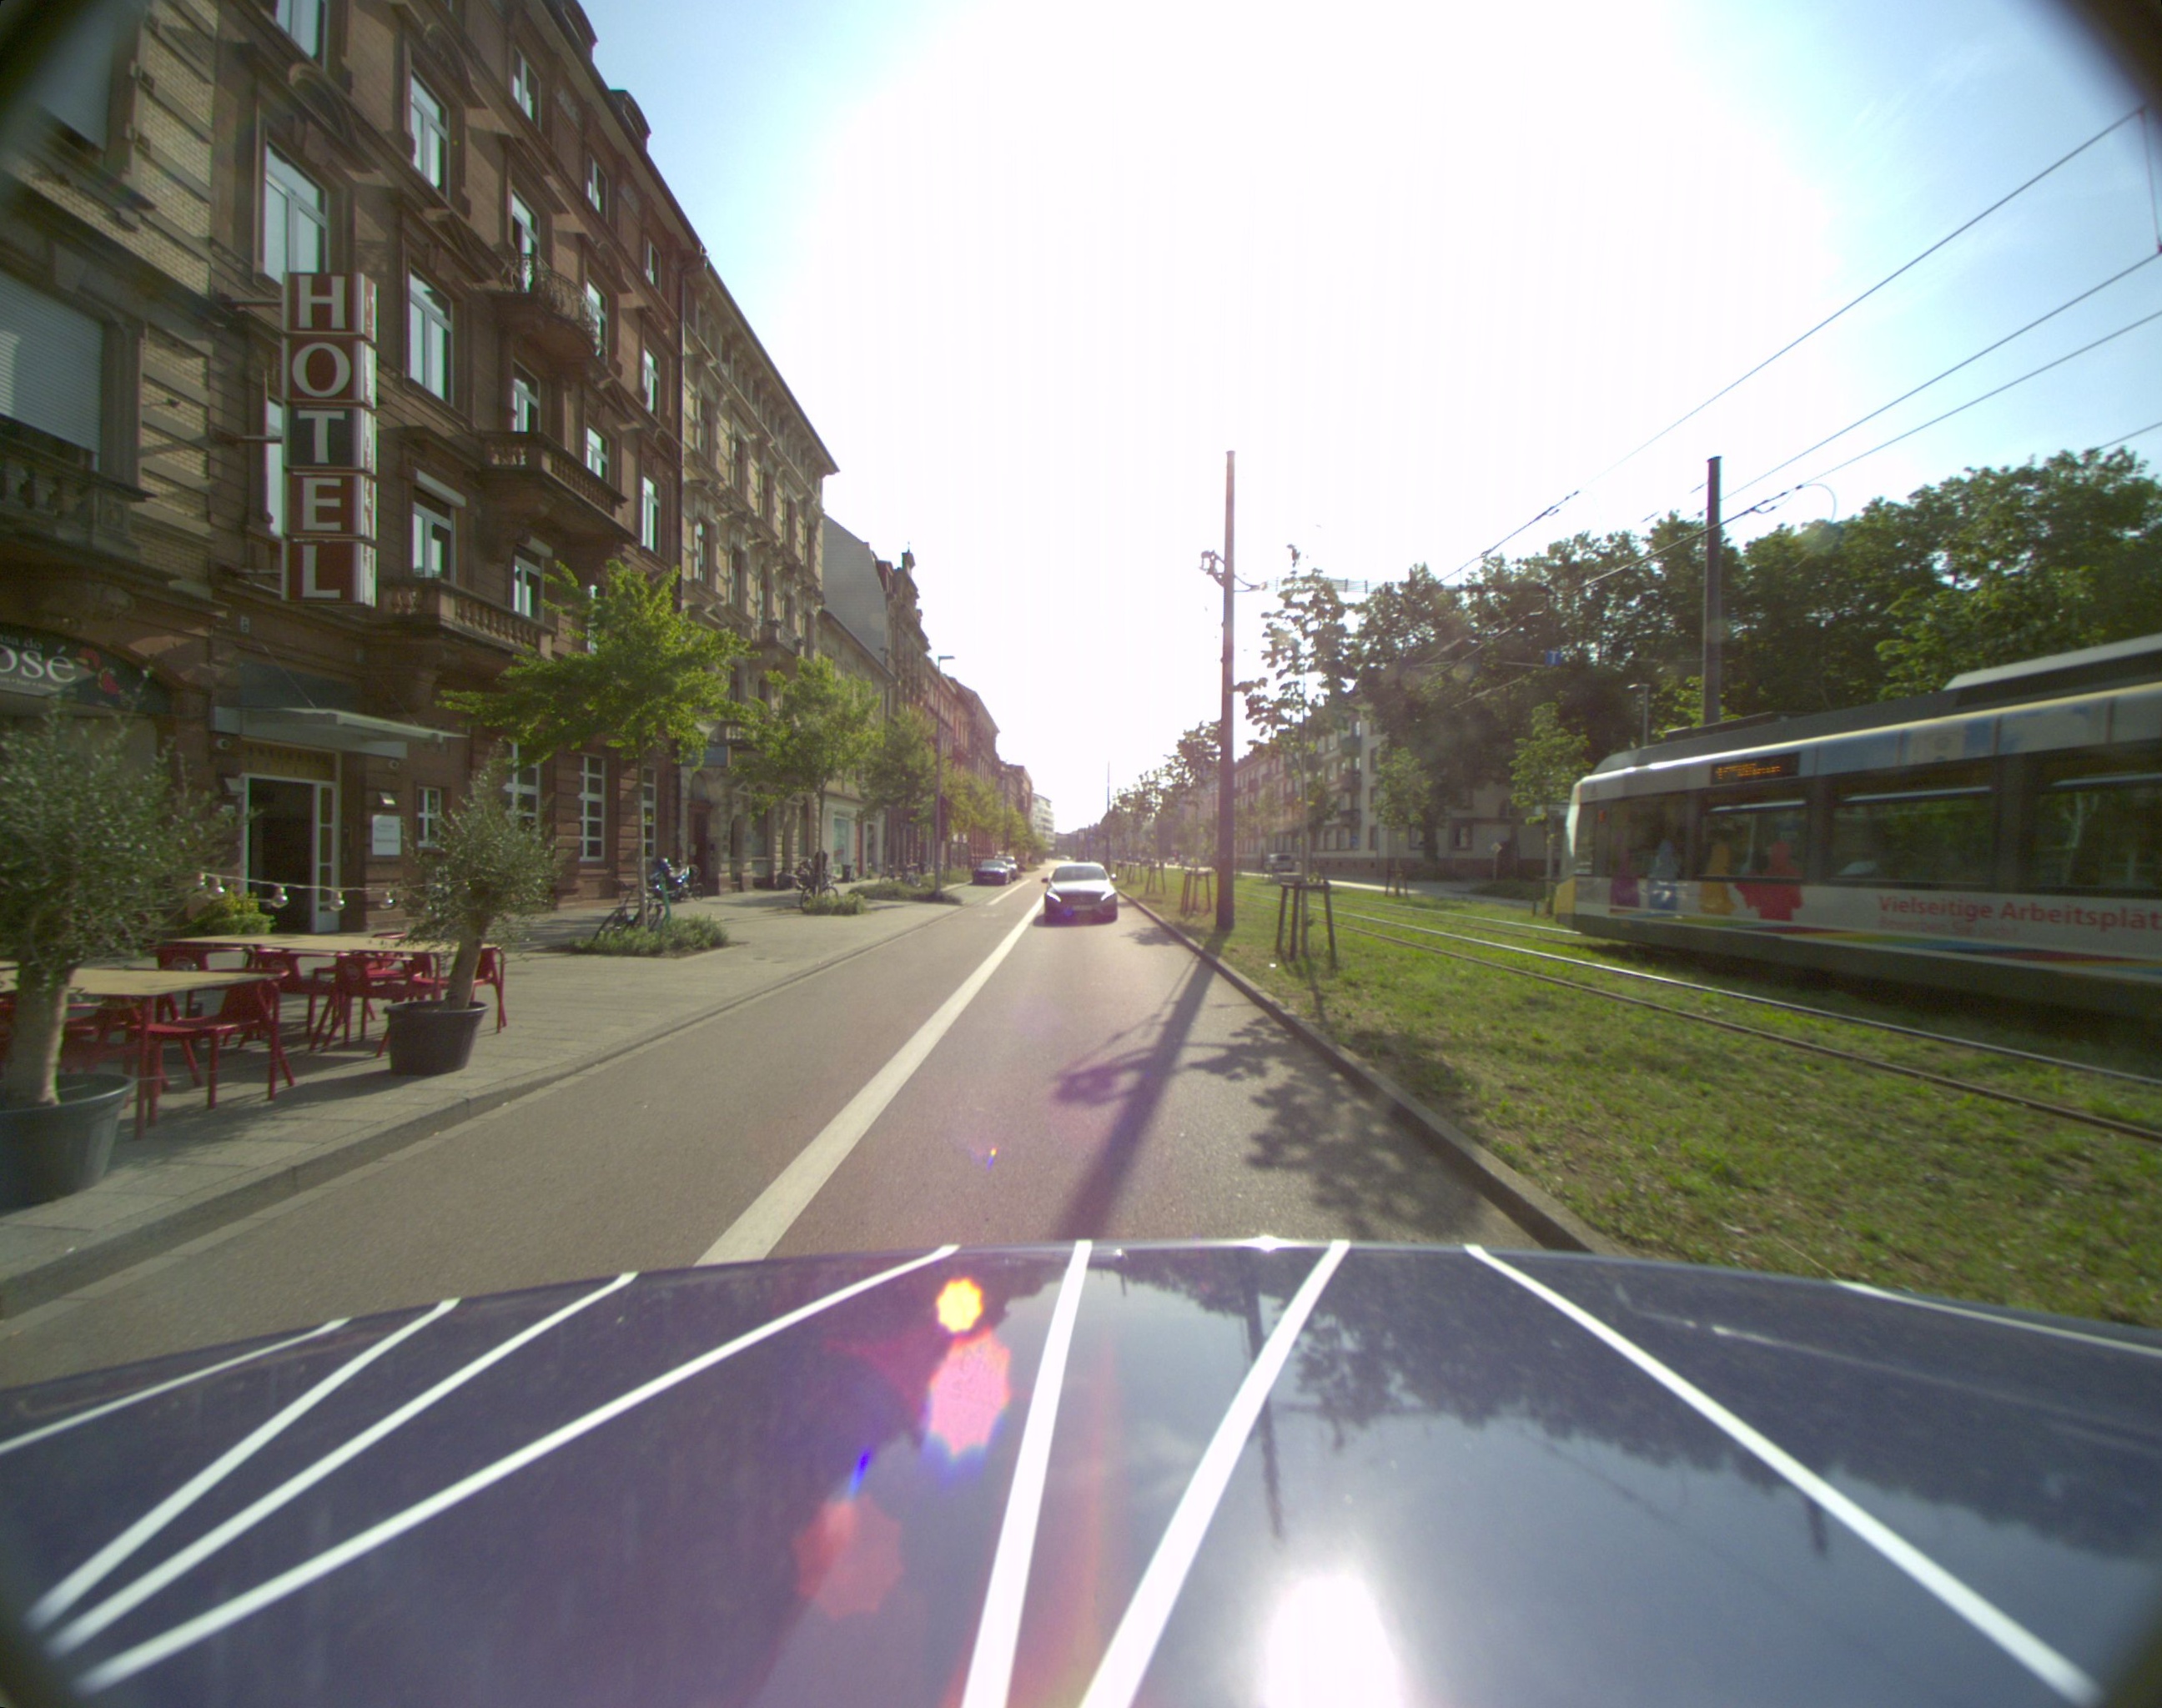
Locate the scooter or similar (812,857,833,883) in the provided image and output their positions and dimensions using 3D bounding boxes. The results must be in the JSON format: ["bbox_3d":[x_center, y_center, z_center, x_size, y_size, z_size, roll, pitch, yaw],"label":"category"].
[{"bbox_3d":[-11.475,0.698,33.757,0.608,1.118,0.931,0,0,0],"label":"scooter or similar"}]

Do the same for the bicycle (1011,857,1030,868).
[{"bbox_3d":[-5.783,0.829,72.969,1.789,1.048,0.372,2,0,-2],"label":"bicycle"}]

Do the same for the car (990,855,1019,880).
[{"bbox_3d":[-5.078,0.858,50.773,1.774,1.579,4.246,1,0,-4],"label":"car"}]

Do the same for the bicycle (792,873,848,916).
[{"bbox_3d":[-6.979,1.063,20.395,0.505,1.054,1.715,2,0,14],"label":"bicycle"}]

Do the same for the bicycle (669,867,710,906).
[{"bbox_3d":[-10.960,0.896,21.302,0.397,1.012,1.255,0,1,5],"label":"bicycle"}]

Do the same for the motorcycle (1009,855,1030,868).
[{"bbox_3d":[-6.370,0.796,78.381,2.046,1.279,0.703,2,-1,-36],"label":"motorcycle"}]

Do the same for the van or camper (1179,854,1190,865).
[{"bbox_3d":[27.993,1.518,205.397,1.999,2.786,5.352,1,0,0],"label":"van or camper"}]

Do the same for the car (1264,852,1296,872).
[{"bbox_3d":[20.510,0.827,78.474,1.998,1.907,5.152,-1,0,0],"label":"car"}]

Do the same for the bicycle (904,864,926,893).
[{"bbox_3d":[-6.595,0.959,30.215,0.494,1.087,1.826,0,0,0],"label":"bicycle"}]

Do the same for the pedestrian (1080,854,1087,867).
[{"bbox_3d":[0.400,0.958,112.229,0.992,1.795,0.864,1,-1,-2],"label":"pedestrian"}]

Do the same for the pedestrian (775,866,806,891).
[{"bbox_3d":[-10.867,0.904,28.483,0.880,0.871,0.711,2,0,-4],"label":"pedestrian"}]

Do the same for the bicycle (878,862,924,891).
[{"bbox_3d":[-7.349,0.909,31.094,0.453,1.076,1.881,3,3,41],"label":"bicycle"}]

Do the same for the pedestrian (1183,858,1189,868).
[{"bbox_3d":[17.149,1.477,123.994,0.807,1.574,0.680,0,1,4],"label":"pedestrian"}]

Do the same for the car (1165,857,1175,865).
[{"bbox_3d":[21.443,1.606,183.565,1.998,1.884,5.047,1,0,2],"label":"car"}]

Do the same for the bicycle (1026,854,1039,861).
[{"bbox_3d":[-6.976,0.460,109.291,1.780,0.947,0.508,2,0,25],"label":"bicycle"}]

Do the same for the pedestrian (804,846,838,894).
[{"bbox_3d":[-9.501,0.570,27.757,0.824,1.686,0.794,2,0,9],"label":"pedestrian"}]

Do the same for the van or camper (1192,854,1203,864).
[{"bbox_3d":[23.816,1.063,155.739,1.934,1.956,4.001,0,0,4],"label":"van or camper"}]

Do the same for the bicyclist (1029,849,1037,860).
[{"bbox_3d":[-6.949,0.046,109.338,0.929,1.473,0.587,3,0,25],"label":"bicyclist"}]

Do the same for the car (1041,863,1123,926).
[{"bbox_3d":[-0.008,0.990,20.065,1.907,1.384,4.235,-1,1,-1],"label":"car"}]

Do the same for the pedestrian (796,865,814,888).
[{"bbox_3d":[-10.964,0.895,30.182,0.572,0.850,0.457,2,0,-6],"label":"pedestrian"}]

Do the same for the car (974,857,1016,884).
[{"bbox_3d":[-4.850,0.907,43.348,1.741,1.388,4.714,2,0,1],"label":"car"}]

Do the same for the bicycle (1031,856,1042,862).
[{"bbox_3d":[-7.794,0.885,133.686,1.759,1.081,0.669,3,0,5],"label":"bicycle"}]

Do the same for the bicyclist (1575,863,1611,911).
[{"bbox_3d":[18.942,1.216,28.141,0.648,1.726,0.918,2,1,0],"label":"bicyclist"}]

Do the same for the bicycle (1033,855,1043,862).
[{"bbox_3d":[-7.637,0.844,134.962,1.763,1.081,0.671,3,0,-23],"label":"bicycle"}]

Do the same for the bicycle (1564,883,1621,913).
[{"bbox_3d":[18.923,1.602,28.141,0.663,0.955,2.078,2,1,0],"label":"bicycle"}]

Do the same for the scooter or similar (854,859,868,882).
[{"bbox_3d":[-10.988,0.823,38.016,0.289,1.127,1.089,0,0,5],"label":"scooter or similar"}]

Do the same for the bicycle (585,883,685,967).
[{"bbox_3d":[-6.882,1.047,11.834,0.597,1.116,1.925,0,0,-7],"label":"bicycle"}]

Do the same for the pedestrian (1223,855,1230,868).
[{"bbox_3d":[23.078,1.205,120.277,0.844,2.056,1.156,-1,1,0],"label":"pedestrian"}]

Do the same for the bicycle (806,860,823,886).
[{"bbox_3d":[-11.370,0.783,32.407,0.452,1.077,1.447,0,0,-10],"label":"bicycle"}]

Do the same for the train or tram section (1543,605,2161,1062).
[{"bbox_3d":[9.880,-0.166,7.545,2.905,3.566,12.475,1,1,0],"label":"train or tram section"}]

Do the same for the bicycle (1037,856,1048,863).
[{"bbox_3d":[-6.979,0.964,137.942,1.761,1.081,0.610,3,0,-10],"label":"bicycle"}]

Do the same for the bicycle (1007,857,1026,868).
[{"bbox_3d":[-6.268,0.833,74.287,1.812,1.089,0.671,2,0,-6],"label":"bicycle"}]

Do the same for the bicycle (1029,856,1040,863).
[{"bbox_3d":[-8.115,0.921,131.827,1.756,1.081,0.583,2,0,3],"label":"bicycle"}]

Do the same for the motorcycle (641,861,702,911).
[{"bbox_3d":[-10.532,0.791,19.608,0.464,1.169,1.945,2,0,0],"label":"motorcycle"}]

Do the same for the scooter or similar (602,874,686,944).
[{"bbox_3d":[-7.639,0.951,13.288,1.259,1.151,0.340,3,1,4],"label":"scooter or similar"}]
